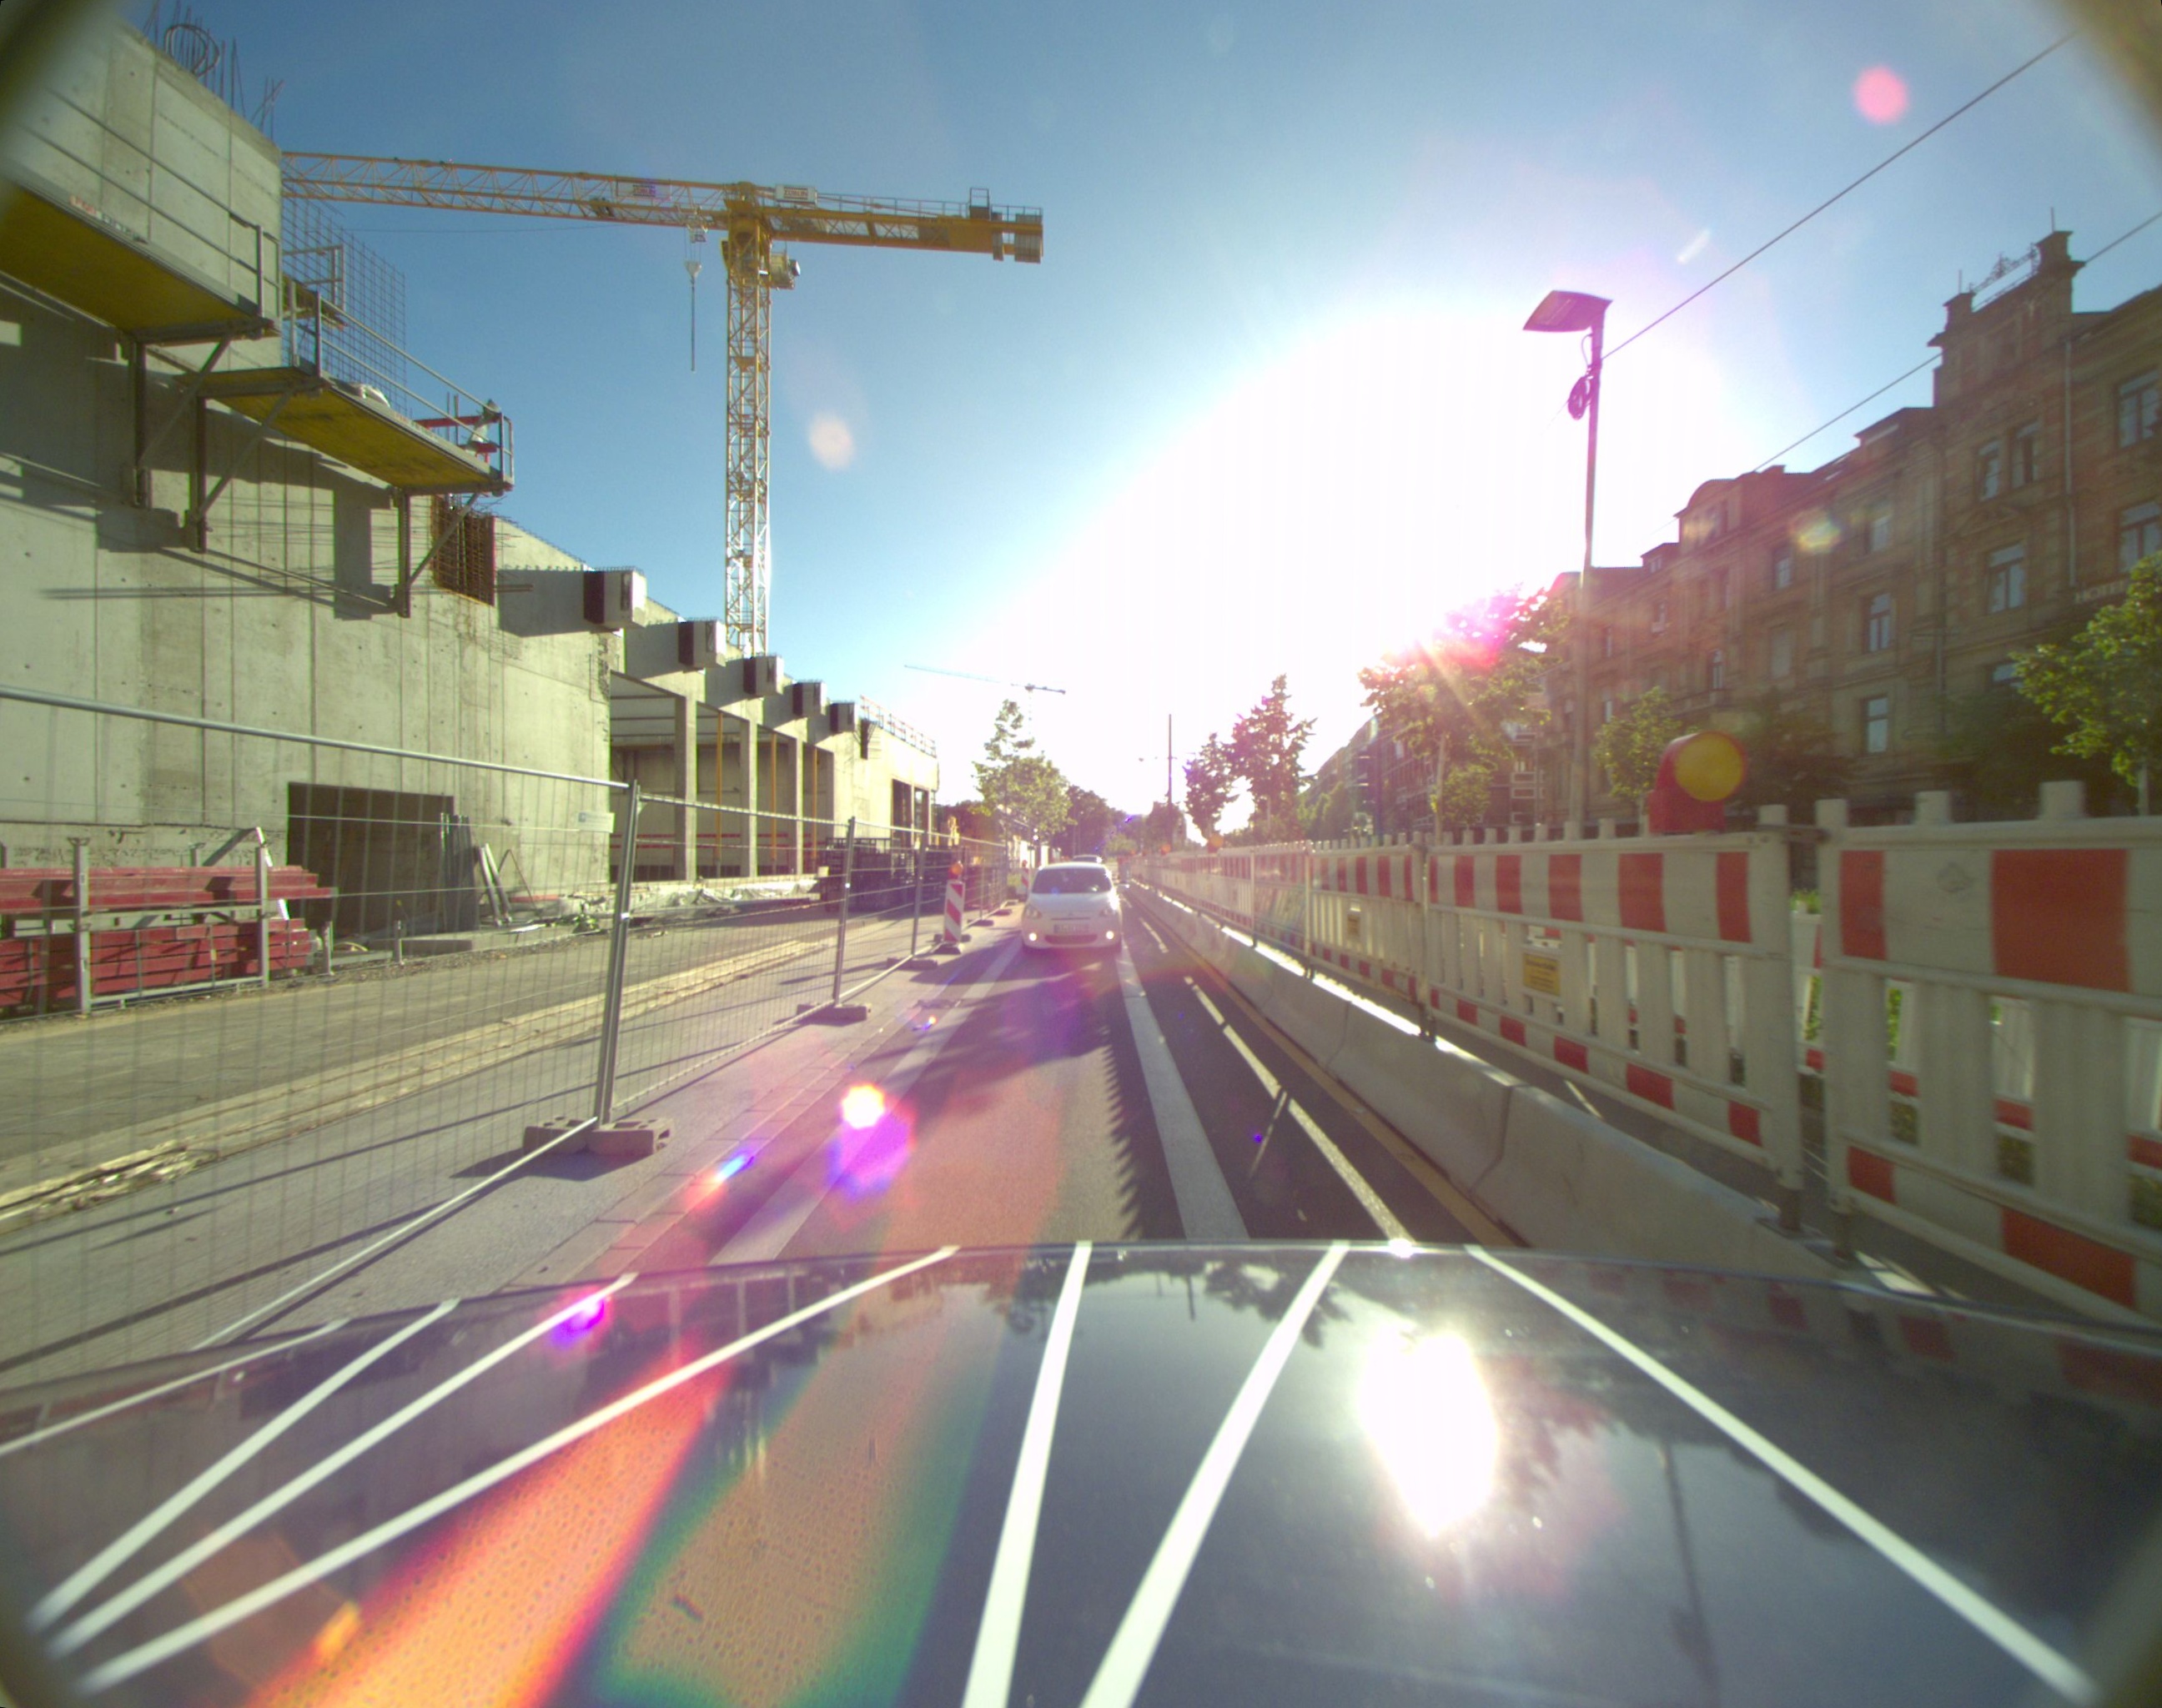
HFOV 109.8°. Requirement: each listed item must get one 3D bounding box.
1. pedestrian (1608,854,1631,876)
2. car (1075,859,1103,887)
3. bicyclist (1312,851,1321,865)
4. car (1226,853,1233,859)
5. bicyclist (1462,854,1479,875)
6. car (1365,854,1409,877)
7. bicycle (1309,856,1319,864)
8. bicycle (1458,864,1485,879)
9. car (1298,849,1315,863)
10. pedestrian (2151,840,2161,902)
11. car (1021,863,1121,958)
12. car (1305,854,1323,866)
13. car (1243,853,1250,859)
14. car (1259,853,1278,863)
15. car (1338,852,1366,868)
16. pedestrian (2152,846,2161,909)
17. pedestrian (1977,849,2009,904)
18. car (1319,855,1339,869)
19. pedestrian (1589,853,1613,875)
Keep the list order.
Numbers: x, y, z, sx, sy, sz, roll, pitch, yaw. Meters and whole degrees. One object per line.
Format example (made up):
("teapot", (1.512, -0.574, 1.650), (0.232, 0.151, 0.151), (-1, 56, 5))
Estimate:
("pedestrian", (29.886, 0.608, 42.176), (0.692, 1.201, 0.929), (0, 1, 2))
("car", (0.468, 1.019, 42.306), (1.458, 1.472, 3.528), (0, 0, 1))
("bicyclist", (27.135, 0.469, 87.553), (0.696, 1.648, 0.882), (0, 1, 2))
("car", (44.078, 0.484, 225.019), (1.731, 1.736, 4.123), (-1, 0, 7))
("bicyclist", (23.161, 0.608, 45.220), (0.638, 1.232, 0.738), (0, 1, 2))
("car", (20.386, 0.740, 50.739), (1.598, 1.474, 3.624), (0, 0, 3))
("bicycle", (26.908, 0.669, 87.663), (0.696, 0.972, 1.827), (0, 0, 2))
("bicycle", (23.154, 1.037, 45.038), (0.638, 0.852, 2.031), (0, 0, 3))
("car", (31.039, 0.262, 104.626), (1.754, 1.761, 4.334), (-1, 0, 9))
("pedestrian", (28.018, 0.426, 19.587), (0.484, 1.575, 0.481), (-3, 1, -36))
("car", (-0.127, 0.970, 14.405), (1.614, 1.488, 3.395), (-2, 0, 1))
("car", (29.028, 0.754, 94.828), (1.627, 1.433, 3.821), (-1, 0, 9))
("car", (45.528, 0.496, 209.087), (1.630, 1.487, 3.782), (0, 0, 9))
("car", (28.022, 0.555, 113.544), (1.857, 1.411, 4.070), (-2, 0, 2))
("car", (27.379, 0.598, 76.850), (1.734, 1.452, 3.902), (-3, 0, 6))
("pedestrian", (27.653, 0.591, 19.352), (0.368, 1.575, 0.405), (-3, 1, -38))
("pedestrian", (26.743, 0.663, 22.277), (0.404, 1.575, 0.426), (-2, 1, 1))
("car", (29.072, 0.947, 89.280), (1.652, 1.545, 3.969), (-1, 0, 9))
("pedestrian", (29.615, 0.559, 43.291), (0.793, 1.201, 0.929), (0, 1, 2))
